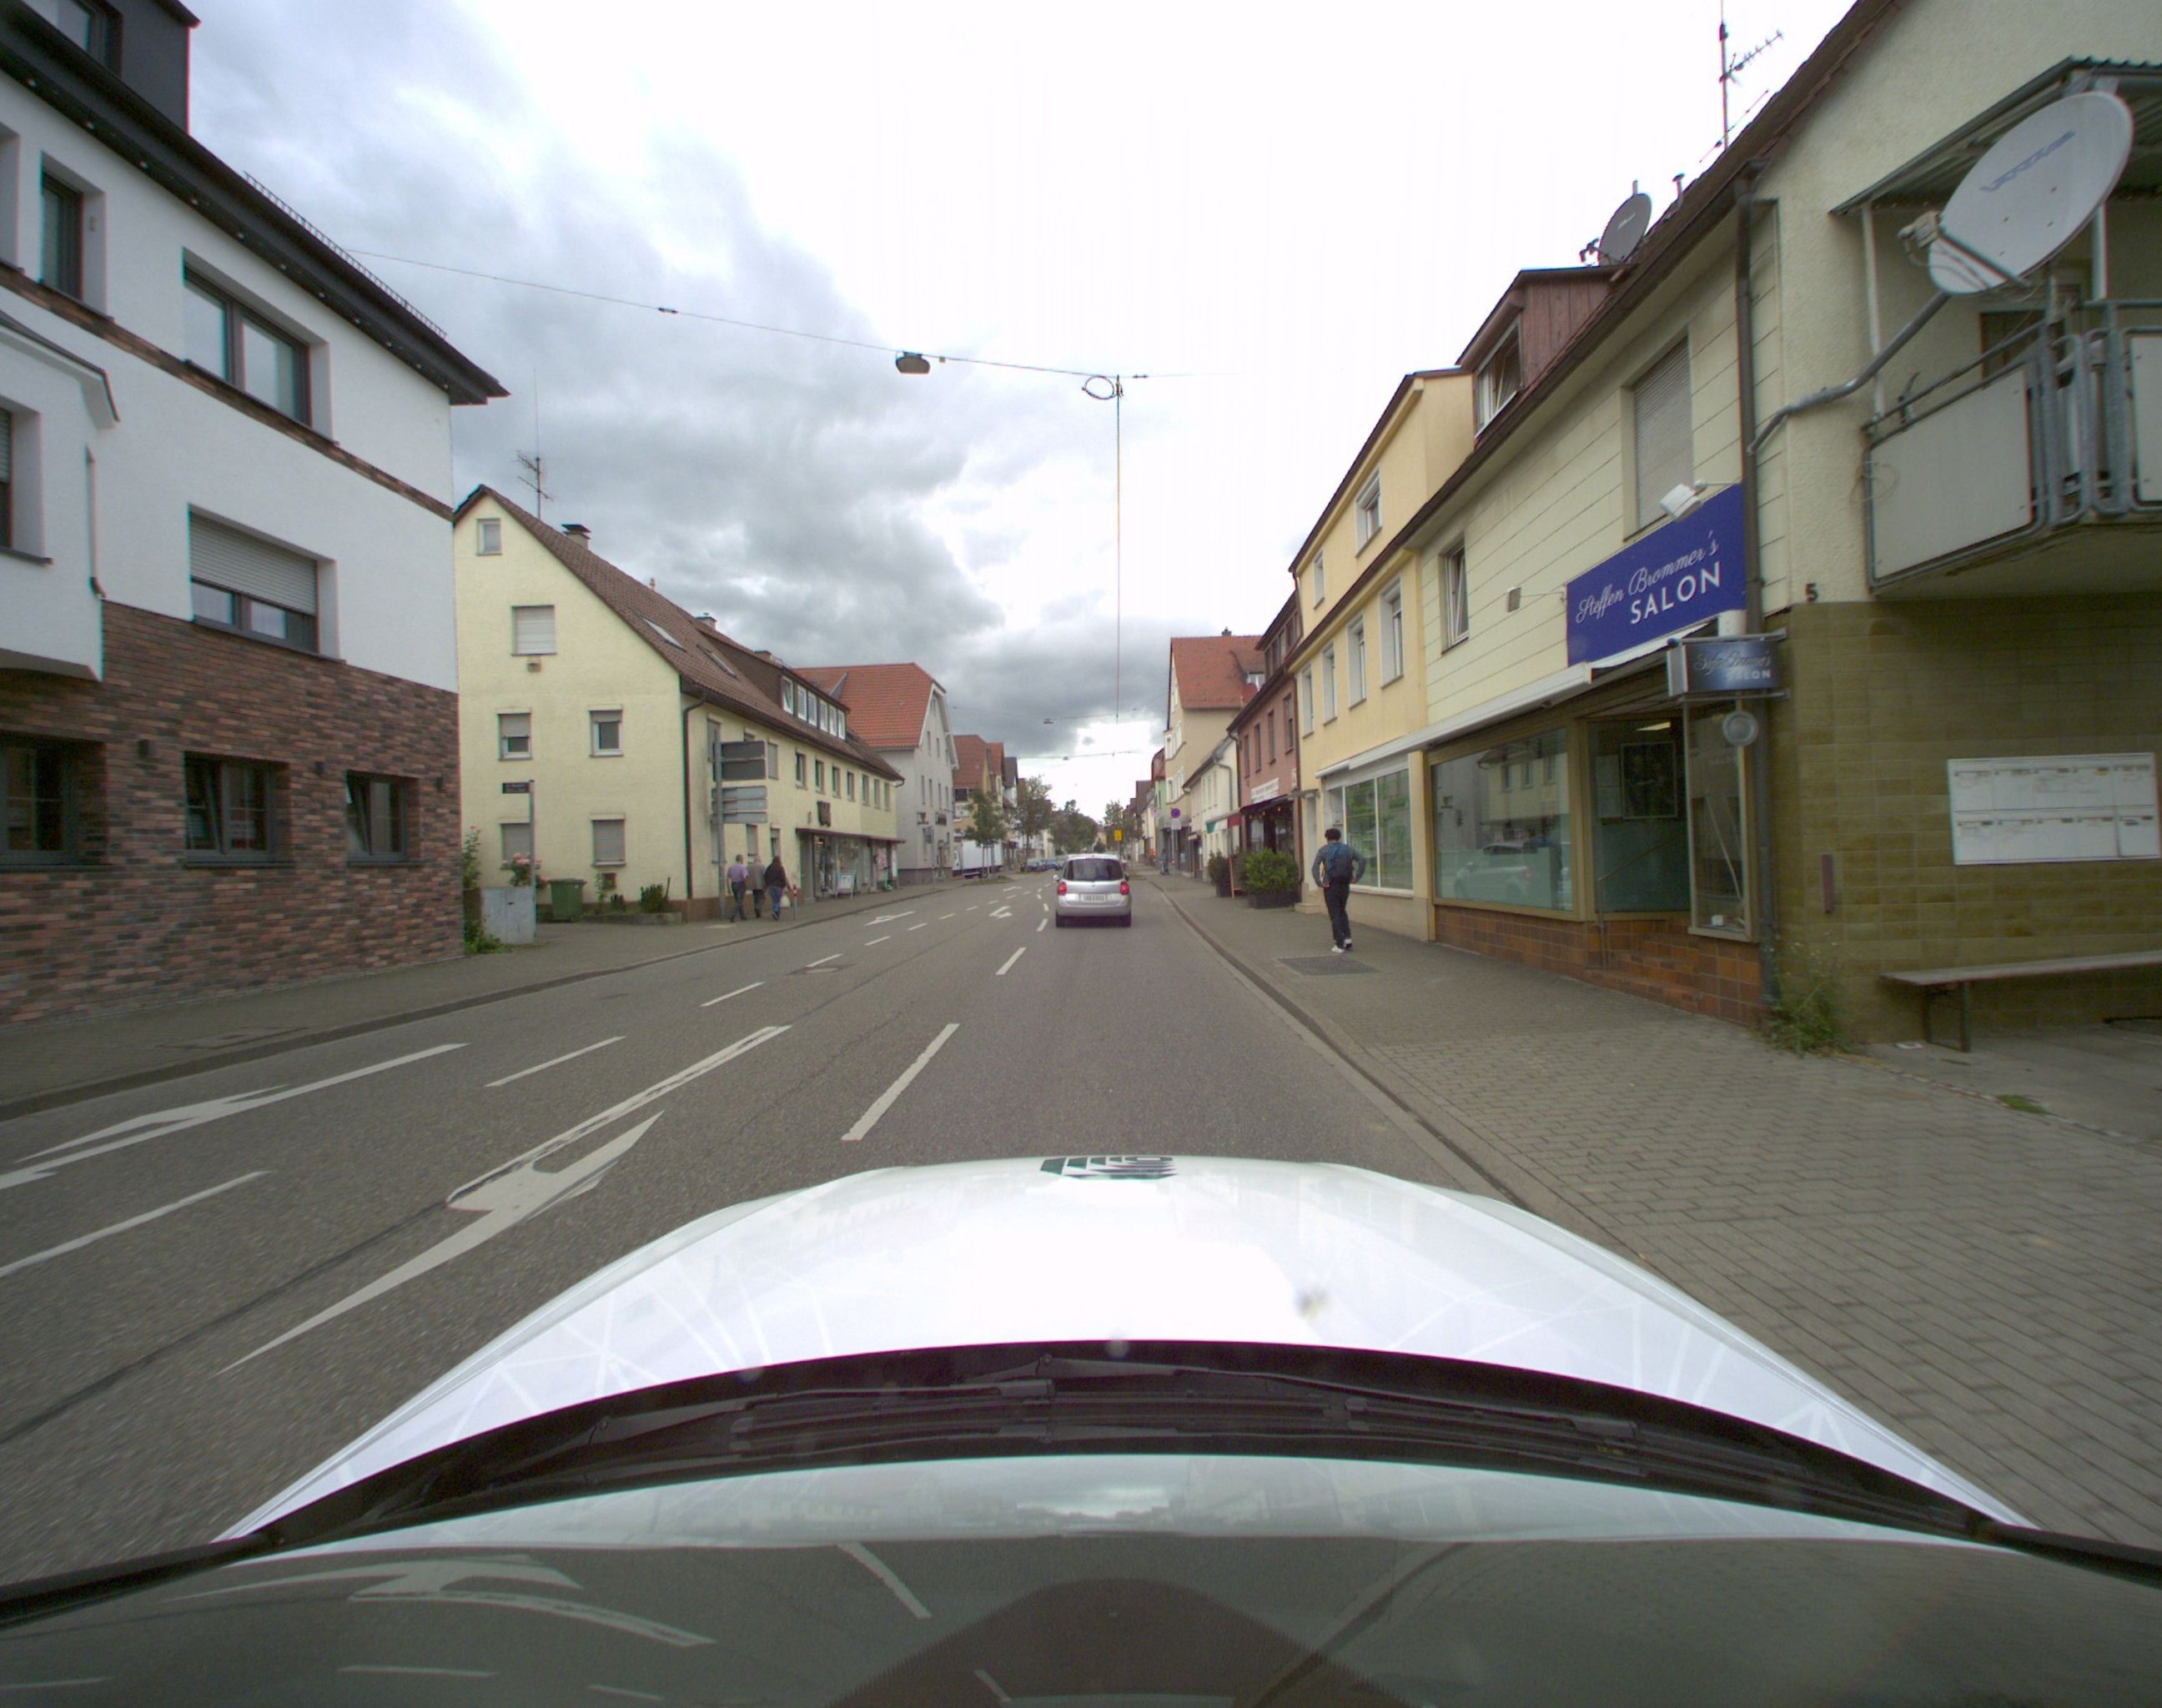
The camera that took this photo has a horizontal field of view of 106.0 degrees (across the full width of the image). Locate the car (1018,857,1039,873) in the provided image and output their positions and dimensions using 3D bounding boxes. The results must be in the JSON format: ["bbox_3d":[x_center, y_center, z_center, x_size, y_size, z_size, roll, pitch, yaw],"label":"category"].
[{"bbox_3d":[-5.220,1.054,80.800,1.676,1.424,3.932,-3,0,1],"label":"car"}]

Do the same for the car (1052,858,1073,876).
[{"bbox_3d":[-1.946,1.418,88.115,1.986,1.796,4.278,-3,0,1],"label":"car"}]

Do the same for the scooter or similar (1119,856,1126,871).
[{"bbox_3d":[3.620,0.811,71.126,0.500,1.235,1.943,-1,0,1],"label":"scooter or similar"}]

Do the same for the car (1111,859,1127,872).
[{"bbox_3d":[4.357,1.295,93.667,1.824,1.445,4.334,0,0,2],"label":"car"}]

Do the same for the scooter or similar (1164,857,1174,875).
[{"bbox_3d":[5.931,0.804,54.683,0.587,1.233,0.891,-1,0,1],"label":"scooter or similar"}]

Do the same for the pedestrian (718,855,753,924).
[{"bbox_3d":[-8.923,0.895,21.060,0.551,1.737,0.648,-2,0,1],"label":"pedestrian"}]

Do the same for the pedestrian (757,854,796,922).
[{"bbox_3d":[-7.999,0.886,21.433,0.675,1.737,0.717,-2,0,1],"label":"pedestrian"}]

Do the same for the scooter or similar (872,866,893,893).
[{"bbox_3d":[-9.288,1.180,38.107,0.526,1.170,1.722,-1,0,2],"label":"scooter or similar"}]

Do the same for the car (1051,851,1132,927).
[{"bbox_3d":[0.315,0.734,19.036,1.675,1.566,3.996,0,0,2],"label":"car"}]

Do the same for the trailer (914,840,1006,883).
[{"bbox_3d":[-9.392,0.537,64.005,2.479,3.219,7.178,-1,0,42],"label":"trailer"}]

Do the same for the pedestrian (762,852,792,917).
[{"bbox_3d":[-8.280,0.822,22.177,0.494,1.737,0.648,-2,0,1],"label":"pedestrian"}]

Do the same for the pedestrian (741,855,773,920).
[{"bbox_3d":[-8.891,0.899,22.361,0.551,1.737,0.648,-2,0,1],"label":"pedestrian"}]

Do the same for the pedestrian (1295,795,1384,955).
[{"bbox_3d":[3.583,0.285,11.390,0.820,2.074,1.012,-5,-1,4],"label":"pedestrian"}]

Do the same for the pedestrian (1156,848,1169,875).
[{"bbox_3d":[5.378,0.500,53.734,0.747,1.720,0.900,-1,0,2],"label":"pedestrian"}]
